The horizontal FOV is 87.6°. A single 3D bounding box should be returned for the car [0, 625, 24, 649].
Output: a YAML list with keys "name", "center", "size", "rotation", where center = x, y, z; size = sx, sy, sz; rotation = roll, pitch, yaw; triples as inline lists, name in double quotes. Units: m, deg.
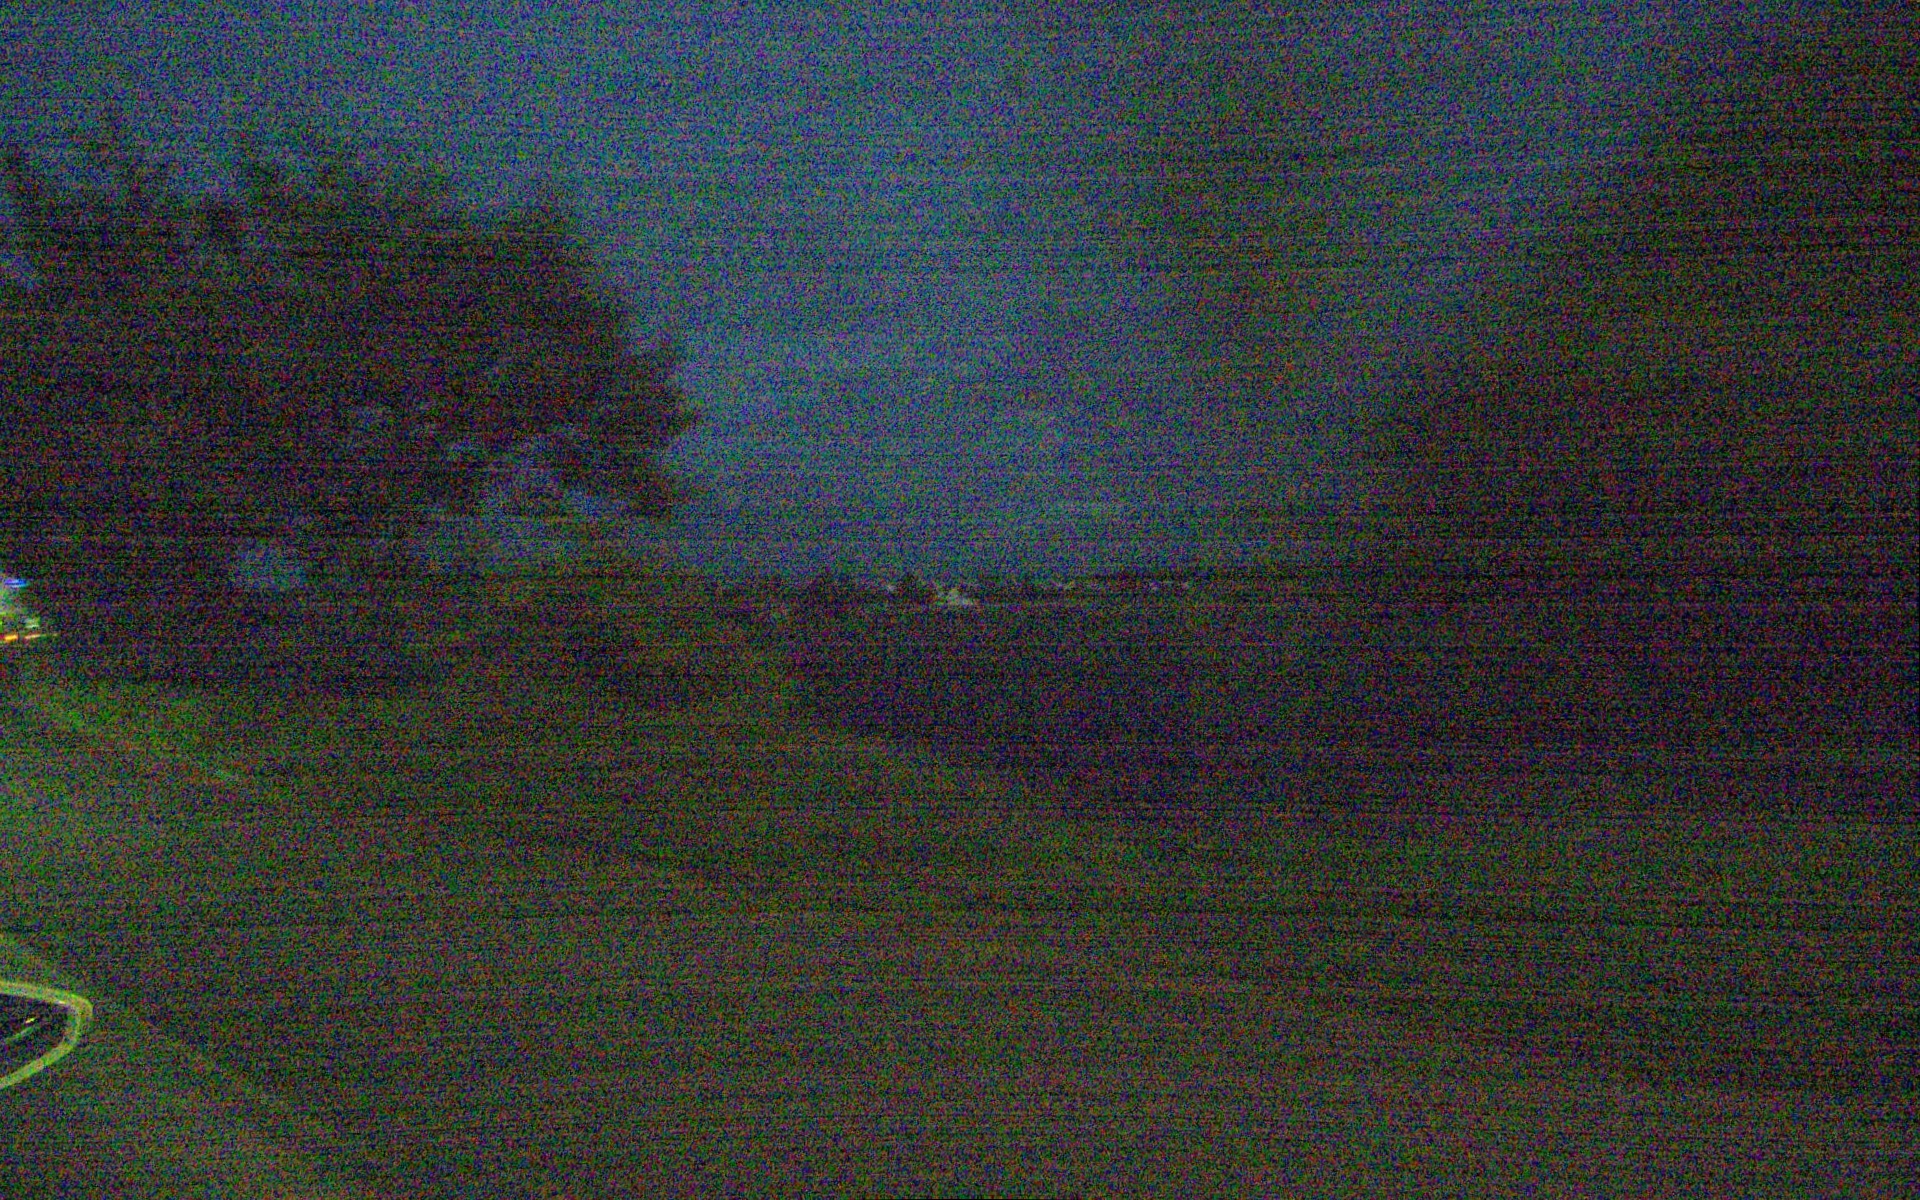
- name: "car"
  center: [-93.586, 3.634, 98.555]
  size: [1.979, 2.041, 3.960]
  rotation: [-4, 3, -43]
